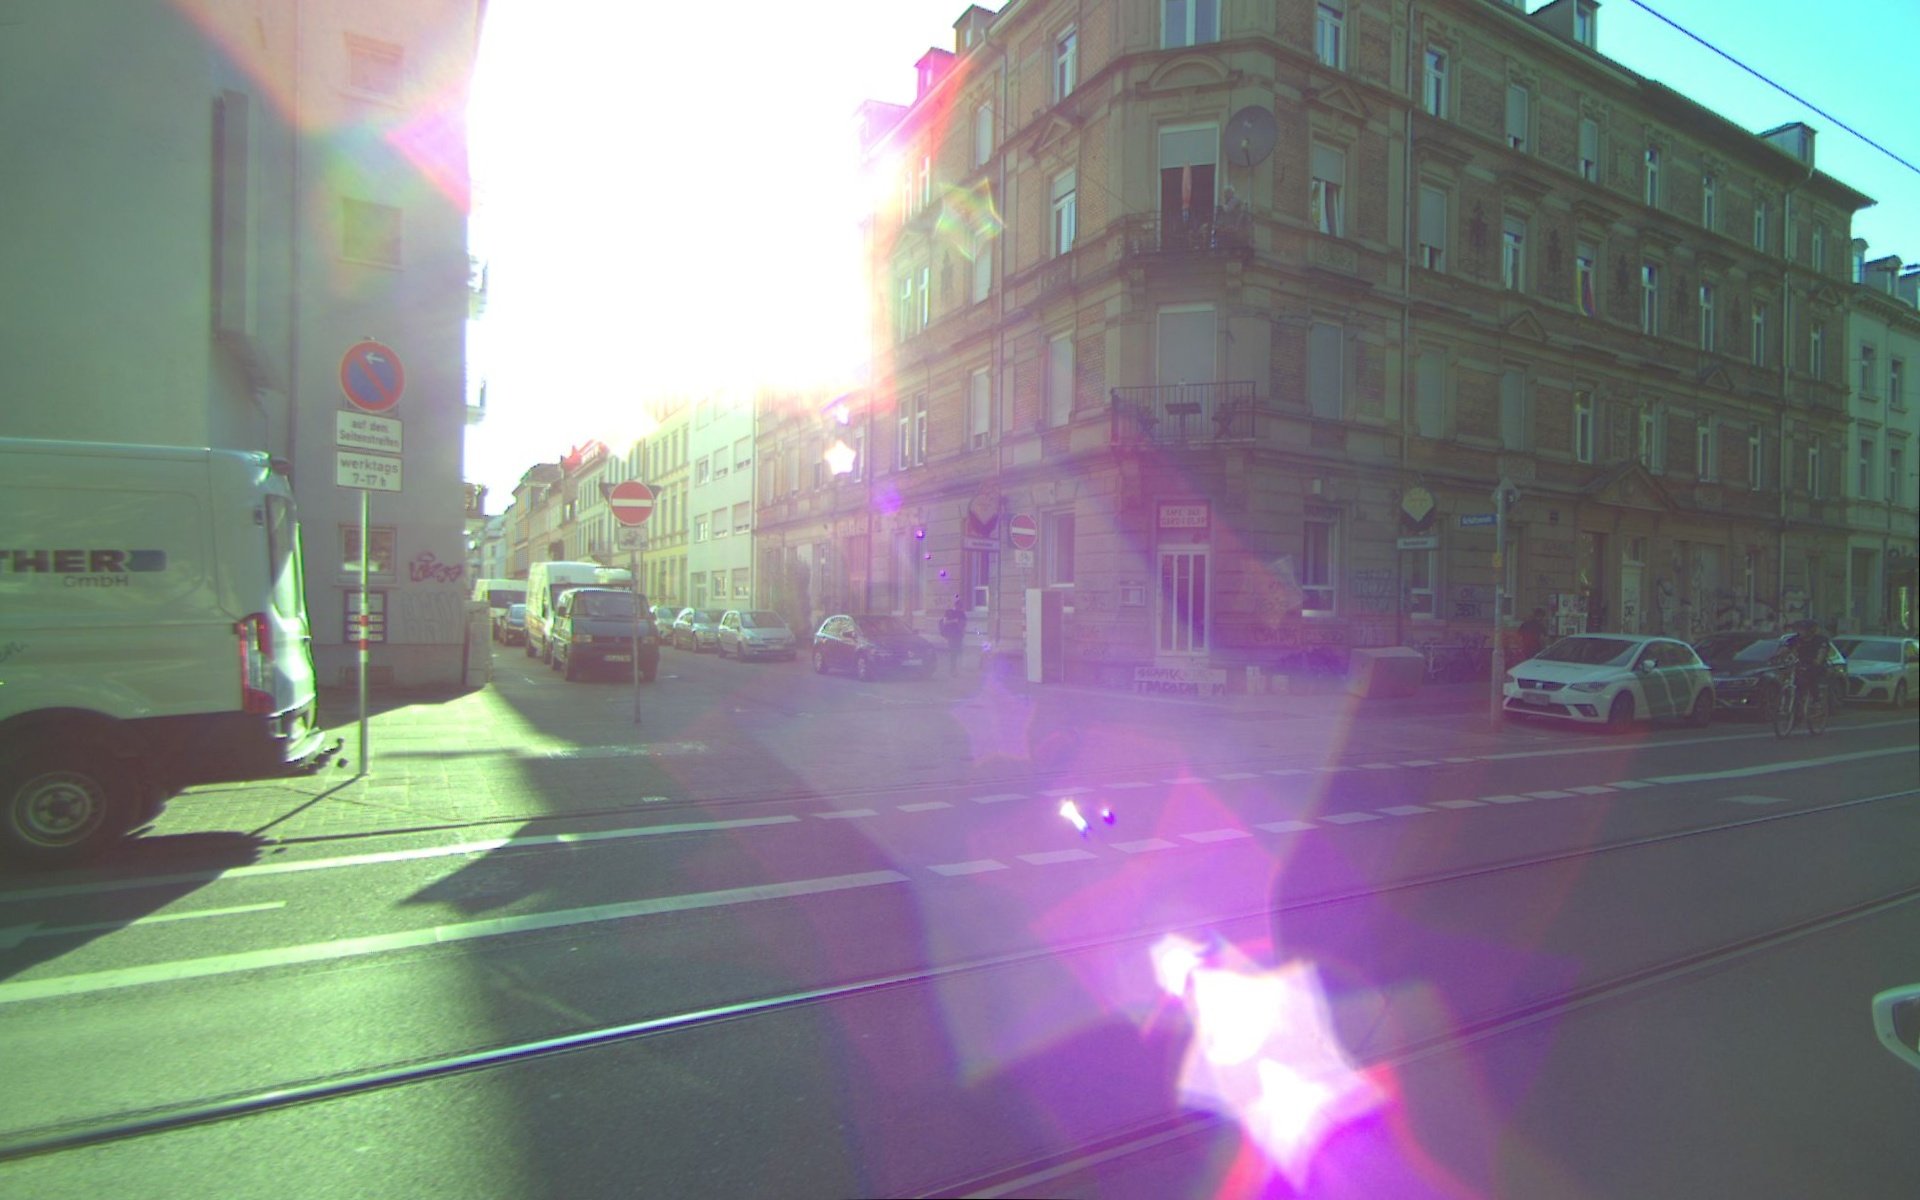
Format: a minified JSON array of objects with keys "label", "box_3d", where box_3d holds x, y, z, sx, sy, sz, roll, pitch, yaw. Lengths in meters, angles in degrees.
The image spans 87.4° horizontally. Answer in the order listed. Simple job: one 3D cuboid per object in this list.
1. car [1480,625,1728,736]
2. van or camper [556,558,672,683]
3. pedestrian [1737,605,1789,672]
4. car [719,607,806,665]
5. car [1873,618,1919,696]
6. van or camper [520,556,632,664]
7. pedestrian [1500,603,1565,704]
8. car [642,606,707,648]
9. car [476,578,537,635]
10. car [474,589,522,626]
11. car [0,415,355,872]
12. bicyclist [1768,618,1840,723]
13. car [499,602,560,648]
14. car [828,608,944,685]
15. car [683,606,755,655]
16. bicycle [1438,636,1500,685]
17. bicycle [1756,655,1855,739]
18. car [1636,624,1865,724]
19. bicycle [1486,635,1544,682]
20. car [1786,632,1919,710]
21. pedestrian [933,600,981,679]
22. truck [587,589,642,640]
[{"label":"car","box_3d":[10.372,1.205,16.122,3.998,1.512,1.732,1,1,-31]},{"label":"van or camper","box_3d":[-7.748,0.450,22.197,1.993,2.418,5.089,1,-1,-24]},{"label":"pedestrian","box_3d":[20.886,0.998,26.132,0.753,1.687,0.665,2,1,2]},{"label":"car","box_3d":[-5.958,1.018,30.076,1.829,1.595,3.658,0,0,-23]},{"label":"car","box_3d":[23.955,1.371,23.994,4.662,1.746,1.778,1,1,-30]},{"label":"van or camper","box_3d":[-10.962,0.286,28.392,2.131,2.705,5.964,0,0,-29]},{"label":"pedestrian","box_3d":[10.801,0.991,18.952,1.048,1.825,0.678,1,1,-38]},{"label":"car","box_3d":[-11.447,1.040,40.162,1.832,1.595,3.653,0,0,-27]},{"label":"car","box_3d":[-18.736,0.263,41.411,2.103,2.188,4.288,0,0,-27]},{"label":"car","box_3d":[-20.769,0.321,45.076,1.832,1.595,3.653,0,0,-27]},{"label":"car","box_3d":[-6.964,0.226,5.975,5.596,2.569,2.056,1,-1,-28]},{"label":"bicyclist","box_3d":[12.518,1.030,14.899,0.797,1.501,0.580,1,-1,-30]},{"label":"car","box_3d":[-15.814,0.865,36.806,1.832,1.595,3.653,0,0,-27]},{"label":"car","box_3d":[-1.757,0.993,22.918,1.697,1.606,3.163,-1,0,-24]},{"label":"car","box_3d":[-8.405,1.000,34.836,1.829,1.595,3.658,0,0,-23]},{"label":"bicycle","box_3d":[11.434,1.343,22.536,1.828,1.048,0.370,1,-1,-33]},{"label":"bicycle","box_3d":[12.502,1.402,14.828,2.206,1.165,0.419,2,-2,-31]},{"label":"car","box_3d":[14.687,1.287,18.590,4.731,1.583,1.732,1,1,-31]},{"label":"bicycle","box_3d":[13.035,1.357,23.568,1.828,1.048,0.370,1,-1,-33]},{"label":"car","box_3d":[19.324,1.432,21.315,3.958,1.439,1.689,1,1,-34]},{"label":"pedestrian","box_3d":[-0.071,0.902,23.230,0.881,1.772,0.654,0,1,-26]},{"label":"truck","box_3d":[-18.085,0.746,52.493,2.065,2.548,4.823,0,0,-27]}]
